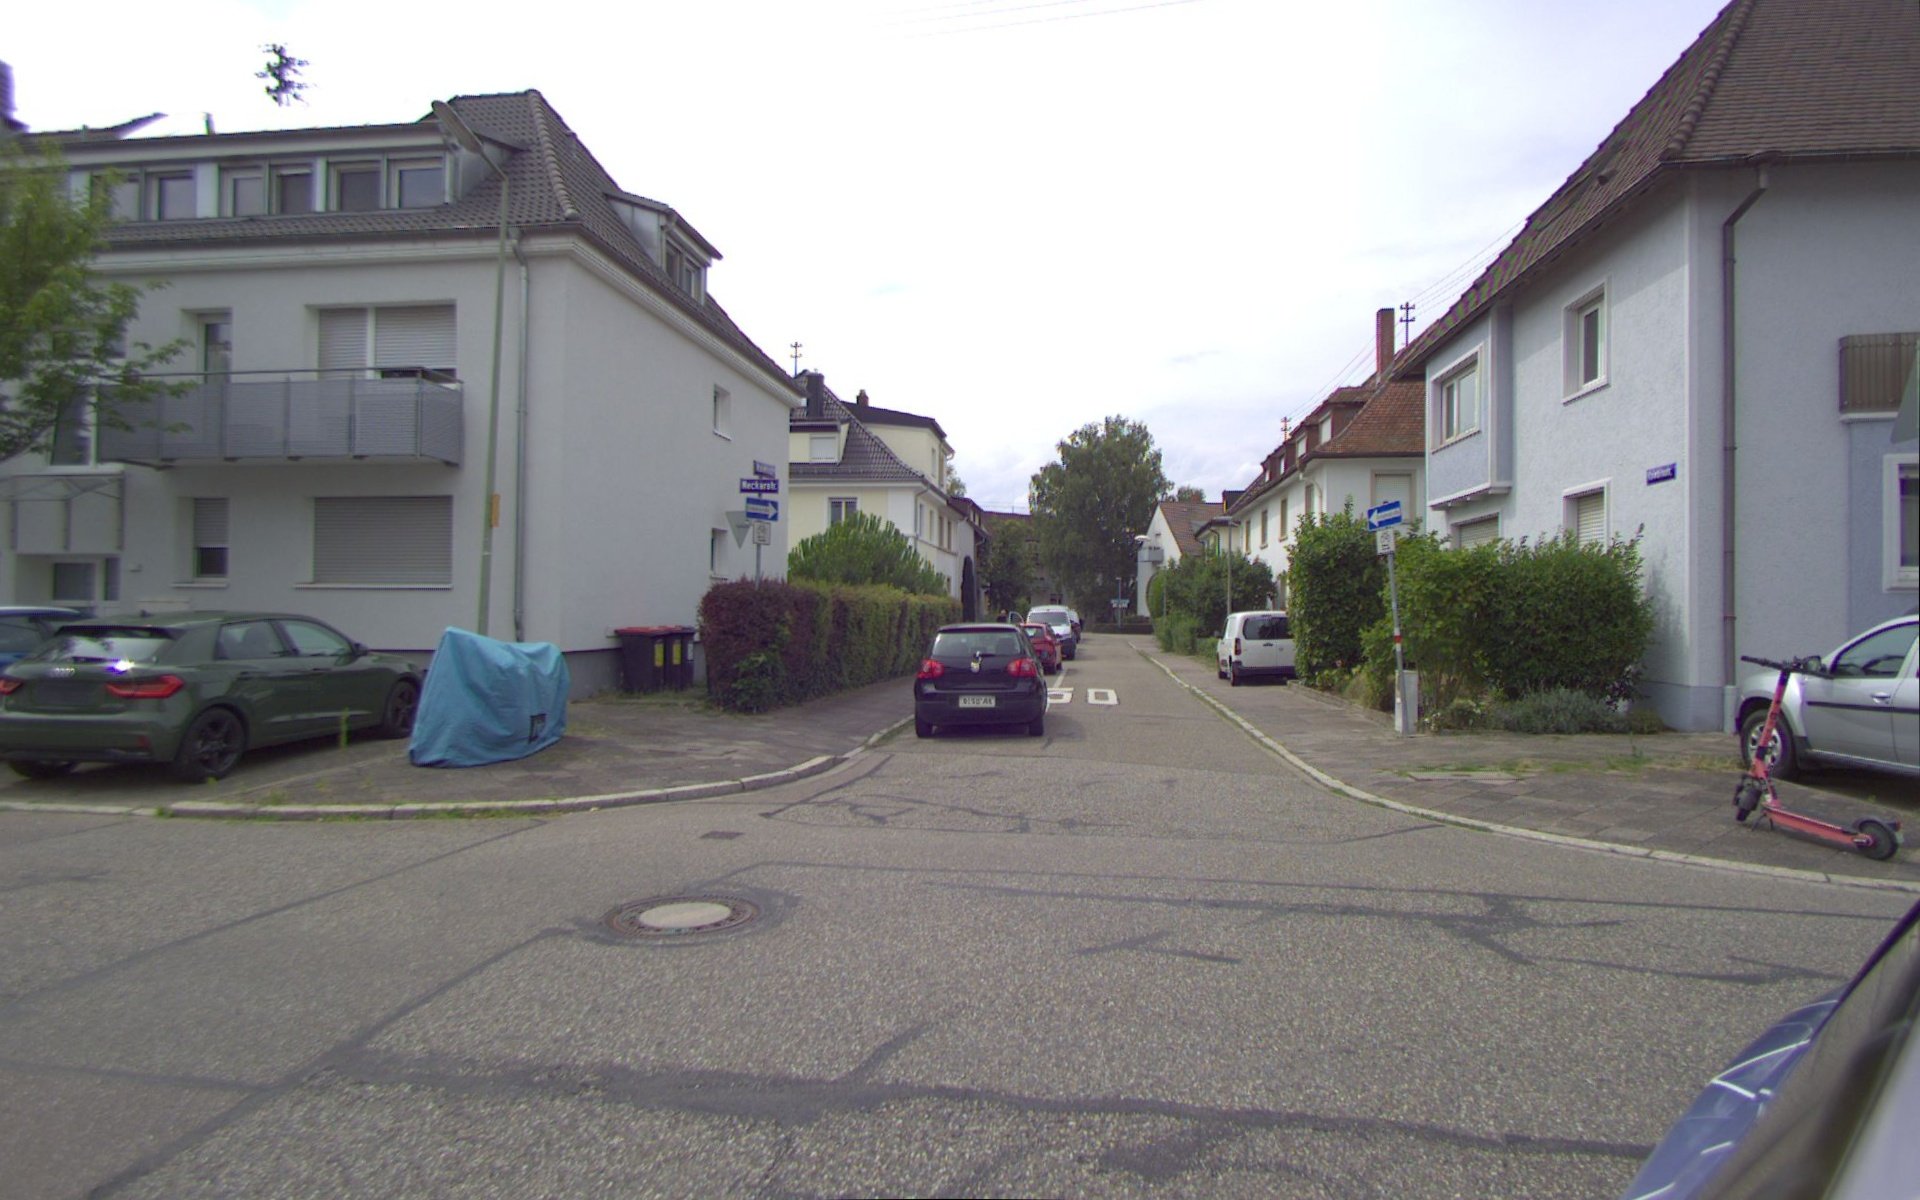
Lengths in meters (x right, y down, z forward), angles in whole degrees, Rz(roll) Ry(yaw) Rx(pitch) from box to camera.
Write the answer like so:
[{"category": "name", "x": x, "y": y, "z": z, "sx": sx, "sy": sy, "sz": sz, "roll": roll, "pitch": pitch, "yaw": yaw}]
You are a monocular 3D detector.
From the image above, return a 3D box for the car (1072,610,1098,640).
[{"category": "car", "x": 7.842, "y": 1.563, "z": 63.621, "sx": 1.519, "sy": 1.682, "sz": 3.634, "roll": 0, "pitch": 1, "yaw": 6}]

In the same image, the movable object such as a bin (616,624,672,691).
[{"category": "movable object such as a bin", "x": -4.916, "y": 0.887, "z": 15.766, "sx": 0.688, "sy": 1.021, "sz": 0.520, "roll": 0, "pitch": -1, "yaw": 6}]

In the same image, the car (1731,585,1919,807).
[{"category": "car", "x": 8.086, "y": 0.755, "z": 7.624, "sx": 1.836, "sy": 1.654, "sz": 3.928, "roll": 3, "pitch": -1, "yaw": 7}]

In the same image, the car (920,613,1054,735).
[{"category": "car", "x": 0.420, "y": 0.934, "z": 14.391, "sx": 1.633, "sy": 1.462, "sz": 3.811, "roll": 0, "pitch": 0, "yaw": 3}]

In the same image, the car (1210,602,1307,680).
[{"category": "car", "x": 7.548, "y": 0.986, "z": 25.916, "sx": 1.675, "sy": 1.828, "sz": 3.808, "roll": -1, "pitch": -1, "yaw": 6}]

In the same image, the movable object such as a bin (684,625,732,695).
[{"category": "movable object such as a bin", "x": -3.839, "y": 0.902, "z": 15.448, "sx": 0.538, "sy": 1.021, "sz": 0.611, "roll": 0, "pitch": -1, "yaw": 4}]

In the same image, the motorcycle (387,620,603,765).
[{"category": "motorcycle", "x": -4.427, "y": 0.819, "z": 9.875, "sx": 0.923, "sy": 1.226, "sz": 2.196, "roll": 0, "pitch": -1, "yaw": 6}]

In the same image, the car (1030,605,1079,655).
[{"category": "car", "x": 3.631, "y": 1.101, "z": 38.957, "sx": 1.775, "sy": 1.817, "sz": 3.808, "roll": 0, "pitch": 0, "yaw": 6}]

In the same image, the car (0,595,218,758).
[{"category": "car", "x": -9.461, "y": 0.709, "z": 9.904, "sx": 1.532, "sy": 1.430, "sz": 3.522, "roll": 0, "pitch": 1, "yaw": 8}]

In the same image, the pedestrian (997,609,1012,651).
[{"category": "pedestrian", "x": 1.867, "y": 1.250, "z": 42.638, "sx": 0.549, "sy": 1.741, "sz": 0.615, "roll": 0, "pitch": -1, "yaw": -3}]

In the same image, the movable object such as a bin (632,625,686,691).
[{"category": "movable object such as a bin", "x": -4.847, "y": 0.926, "z": 16.309, "sx": 0.688, "sy": 1.021, "sz": 0.520, "roll": 0, "pitch": -1, "yaw": 6}]

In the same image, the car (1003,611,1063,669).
[{"category": "car", "x": 2.171, "y": 1.095, "z": 29.366, "sx": 1.634, "sy": 1.537, "sz": 3.808, "roll": 0, "pitch": 0, "yaw": 6}]

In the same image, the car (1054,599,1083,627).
[{"category": "car", "x": 7.422, "y": 0.841, "z": 69.264, "sx": 1.878, "sy": 1.755, "sz": 3.764, "roll": 0, "pitch": 1, "yaw": 5}]

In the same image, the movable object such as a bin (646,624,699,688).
[{"category": "movable object such as a bin", "x": -4.779, "y": 0.920, "z": 16.844, "sx": 0.688, "sy": 1.021, "sz": 0.520, "roll": 0, "pitch": -1, "yaw": 6}]

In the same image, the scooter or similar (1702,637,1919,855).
[{"category": "scooter or similar", "x": 5.708, "y": 0.916, "z": 6.817, "sx": 0.414, "sy": 1.259, "sz": 1.244, "roll": 0, "pitch": 1, "yaw": -5}]

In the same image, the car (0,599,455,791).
[{"category": "car", "x": -6.884, "y": 0.730, "z": 9.791, "sx": 1.744, "sy": 1.382, "sz": 3.751, "roll": 0, "pitch": 1, "yaw": 9}]

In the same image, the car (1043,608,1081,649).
[{"category": "car", "x": 4.834, "y": 1.326, "z": 48.088, "sx": 1.725, "sy": 1.849, "sz": 4.288, "roll": 0, "pitch": 0, "yaw": 6}]

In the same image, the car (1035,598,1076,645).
[{"category": "car", "x": 4.090, "y": 0.888, "z": 43.275, "sx": 1.634, "sy": 1.928, "sz": 3.808, "roll": 0, "pitch": 0, "yaw": 6}]
